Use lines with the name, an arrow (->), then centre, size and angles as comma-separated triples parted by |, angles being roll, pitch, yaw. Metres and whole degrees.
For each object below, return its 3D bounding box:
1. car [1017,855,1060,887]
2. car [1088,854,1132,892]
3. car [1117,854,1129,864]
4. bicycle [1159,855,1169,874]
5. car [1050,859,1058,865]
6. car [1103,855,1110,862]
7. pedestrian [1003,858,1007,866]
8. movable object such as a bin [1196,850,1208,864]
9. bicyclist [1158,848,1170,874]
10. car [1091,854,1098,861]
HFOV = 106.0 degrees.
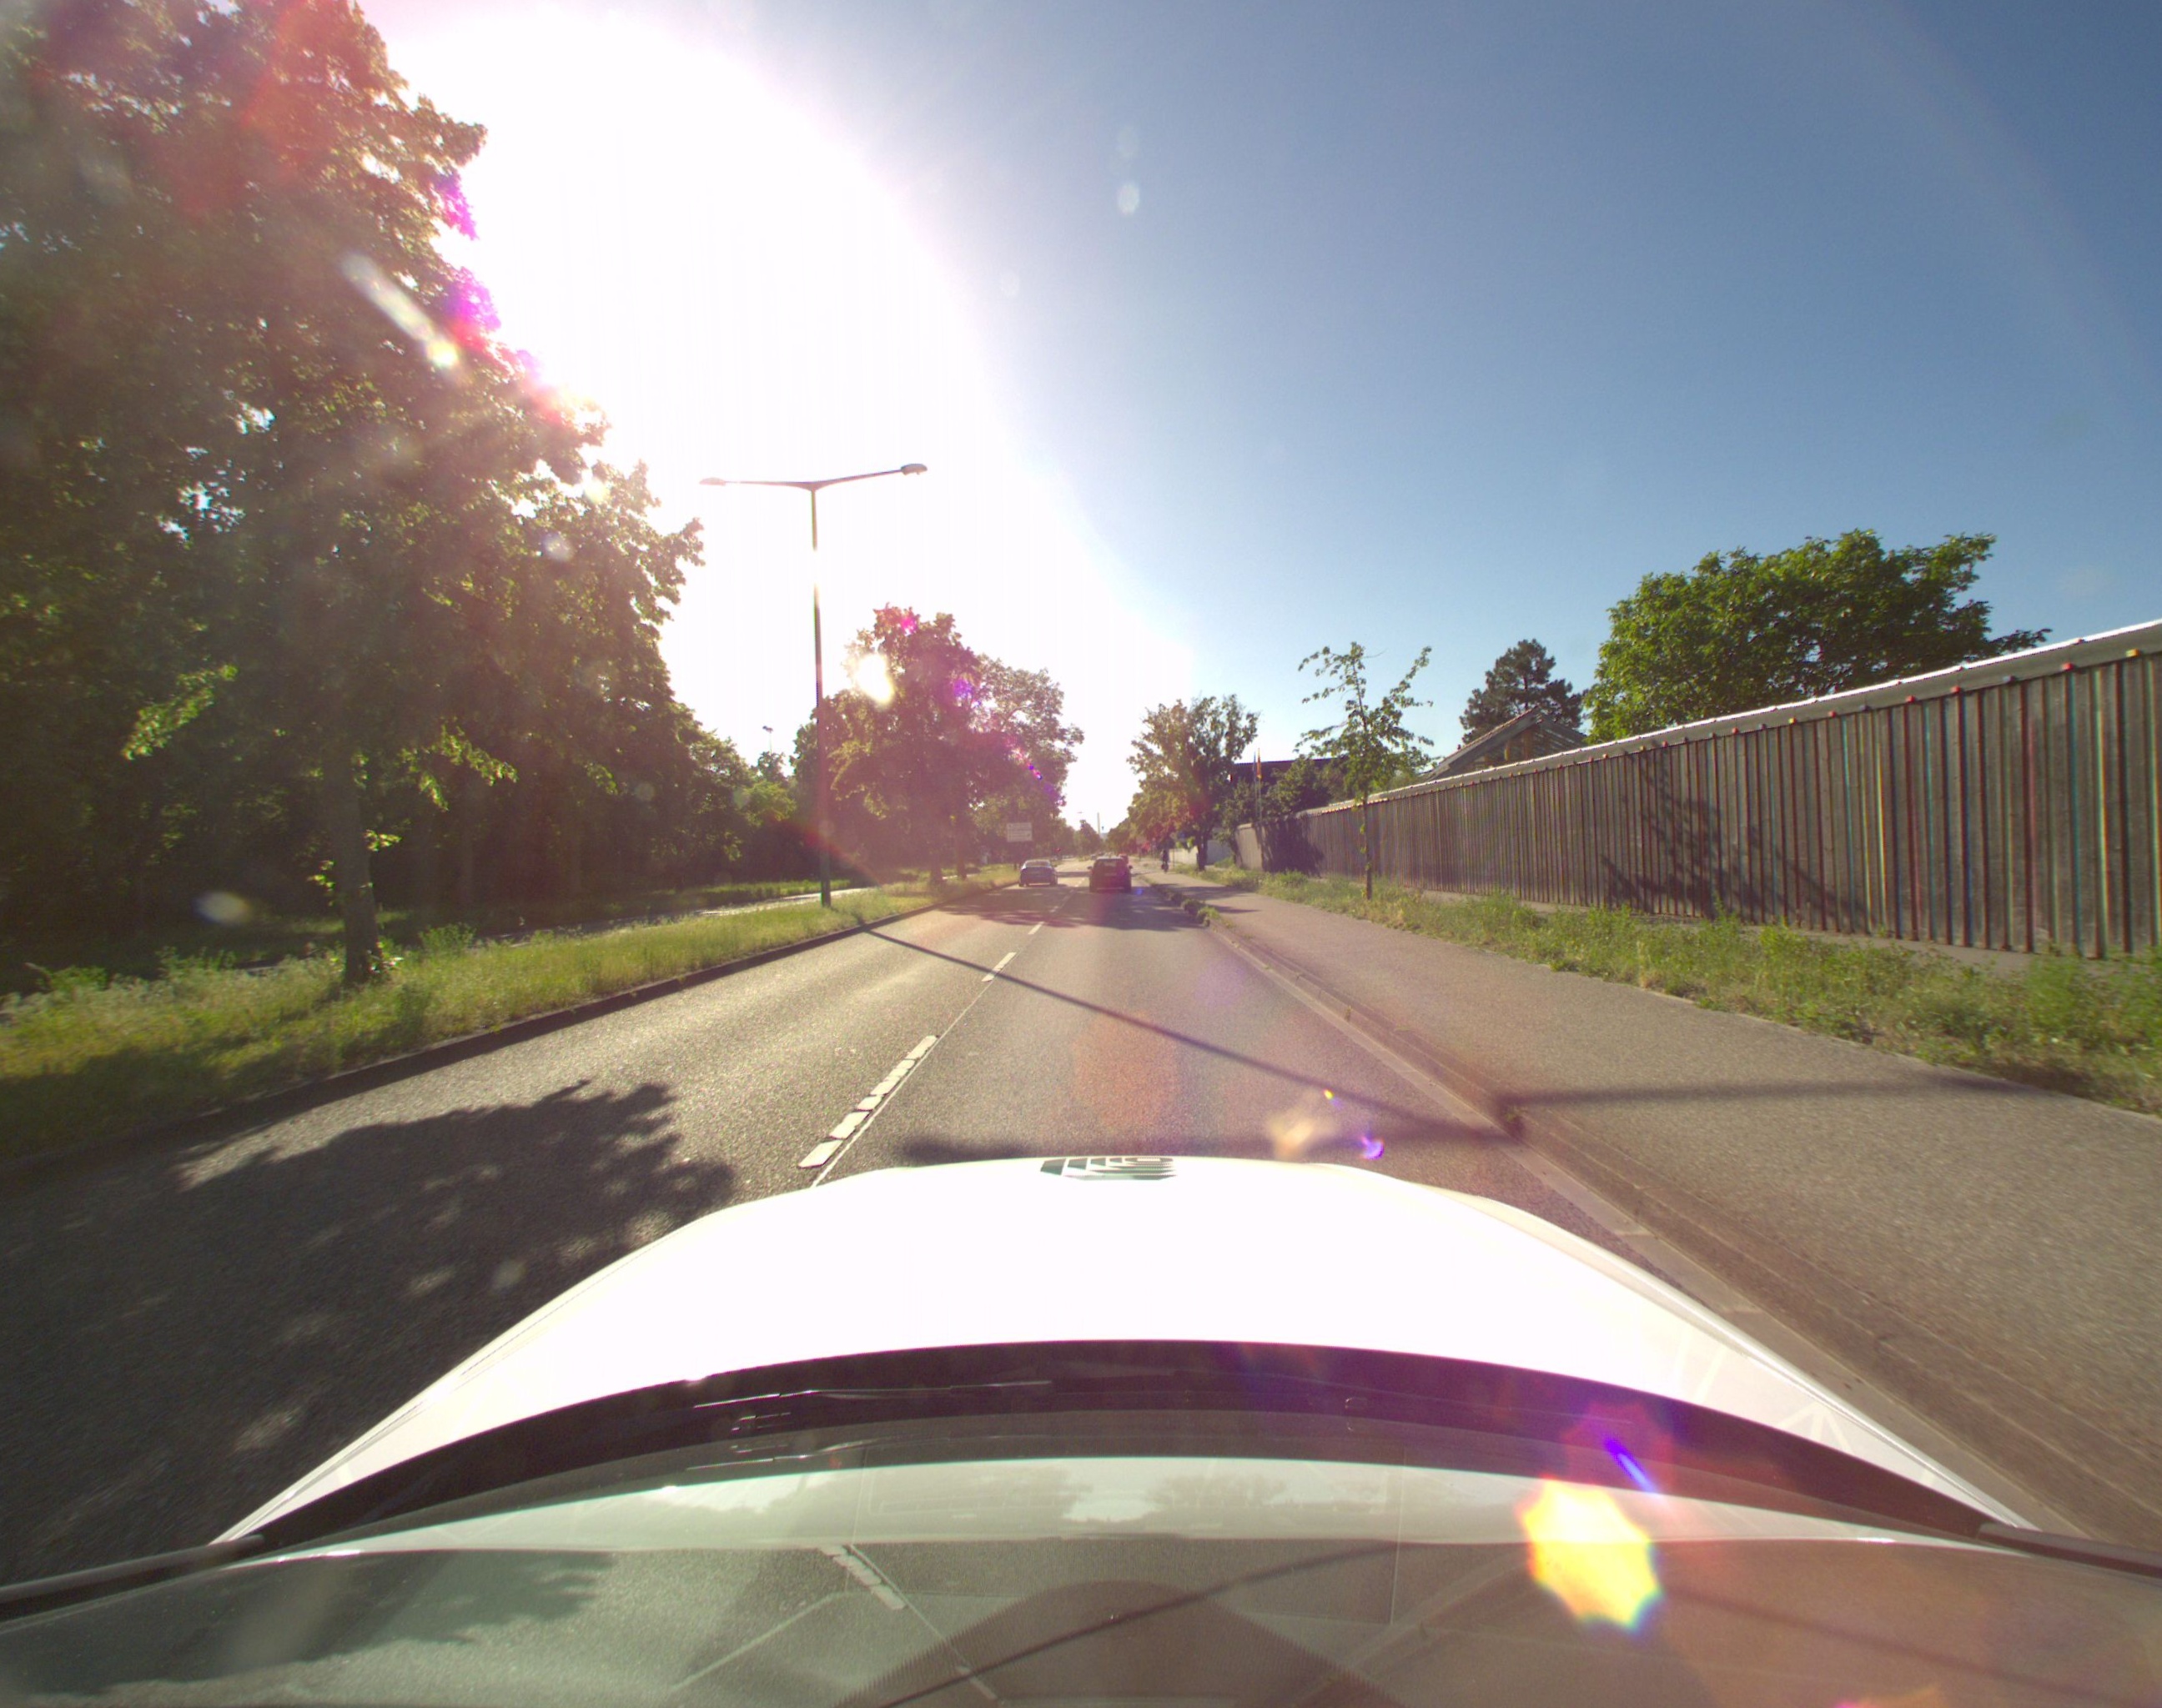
car -> -2.225, 0.875, 43.619 | 1.881, 1.552, 4.001 | -2, -1, 2
car -> 1.240, 0.780, 34.805 | 1.749, 1.509, 3.810 | -2, -1, 2
car -> 6.762, 0.818, 131.860 | 1.724, 1.459, 3.846 | -2, 0, 5
bicycle -> 5.581, 0.714, 54.476 | 0.571, 1.155, 2.144 | -5, 0, 6
car -> -7.946, 2.443, 242.305 | 1.904, 1.703, 4.410 | 0, -1, 2
car -> 5.832, 1.060, 185.584 | 1.726, 1.585, 3.841 | 0, -1, 1
pedestrian -> -18.774, 2.023, 201.036 | 0.842, 1.835, 0.550 | -2, 0, 2
movable object such as a bin -> 11.727, 0.287, 78.797 | 0.996, 1.205, 1.065 | -4, -1, 9
bicyclist -> 5.569, 0.463, 54.454 | 0.627, 1.632, 0.983 | -5, 0, 6
car -> 3.544, 0.825, 213.287 | 1.818, 1.615, 3.841 | -4, 1, 1
